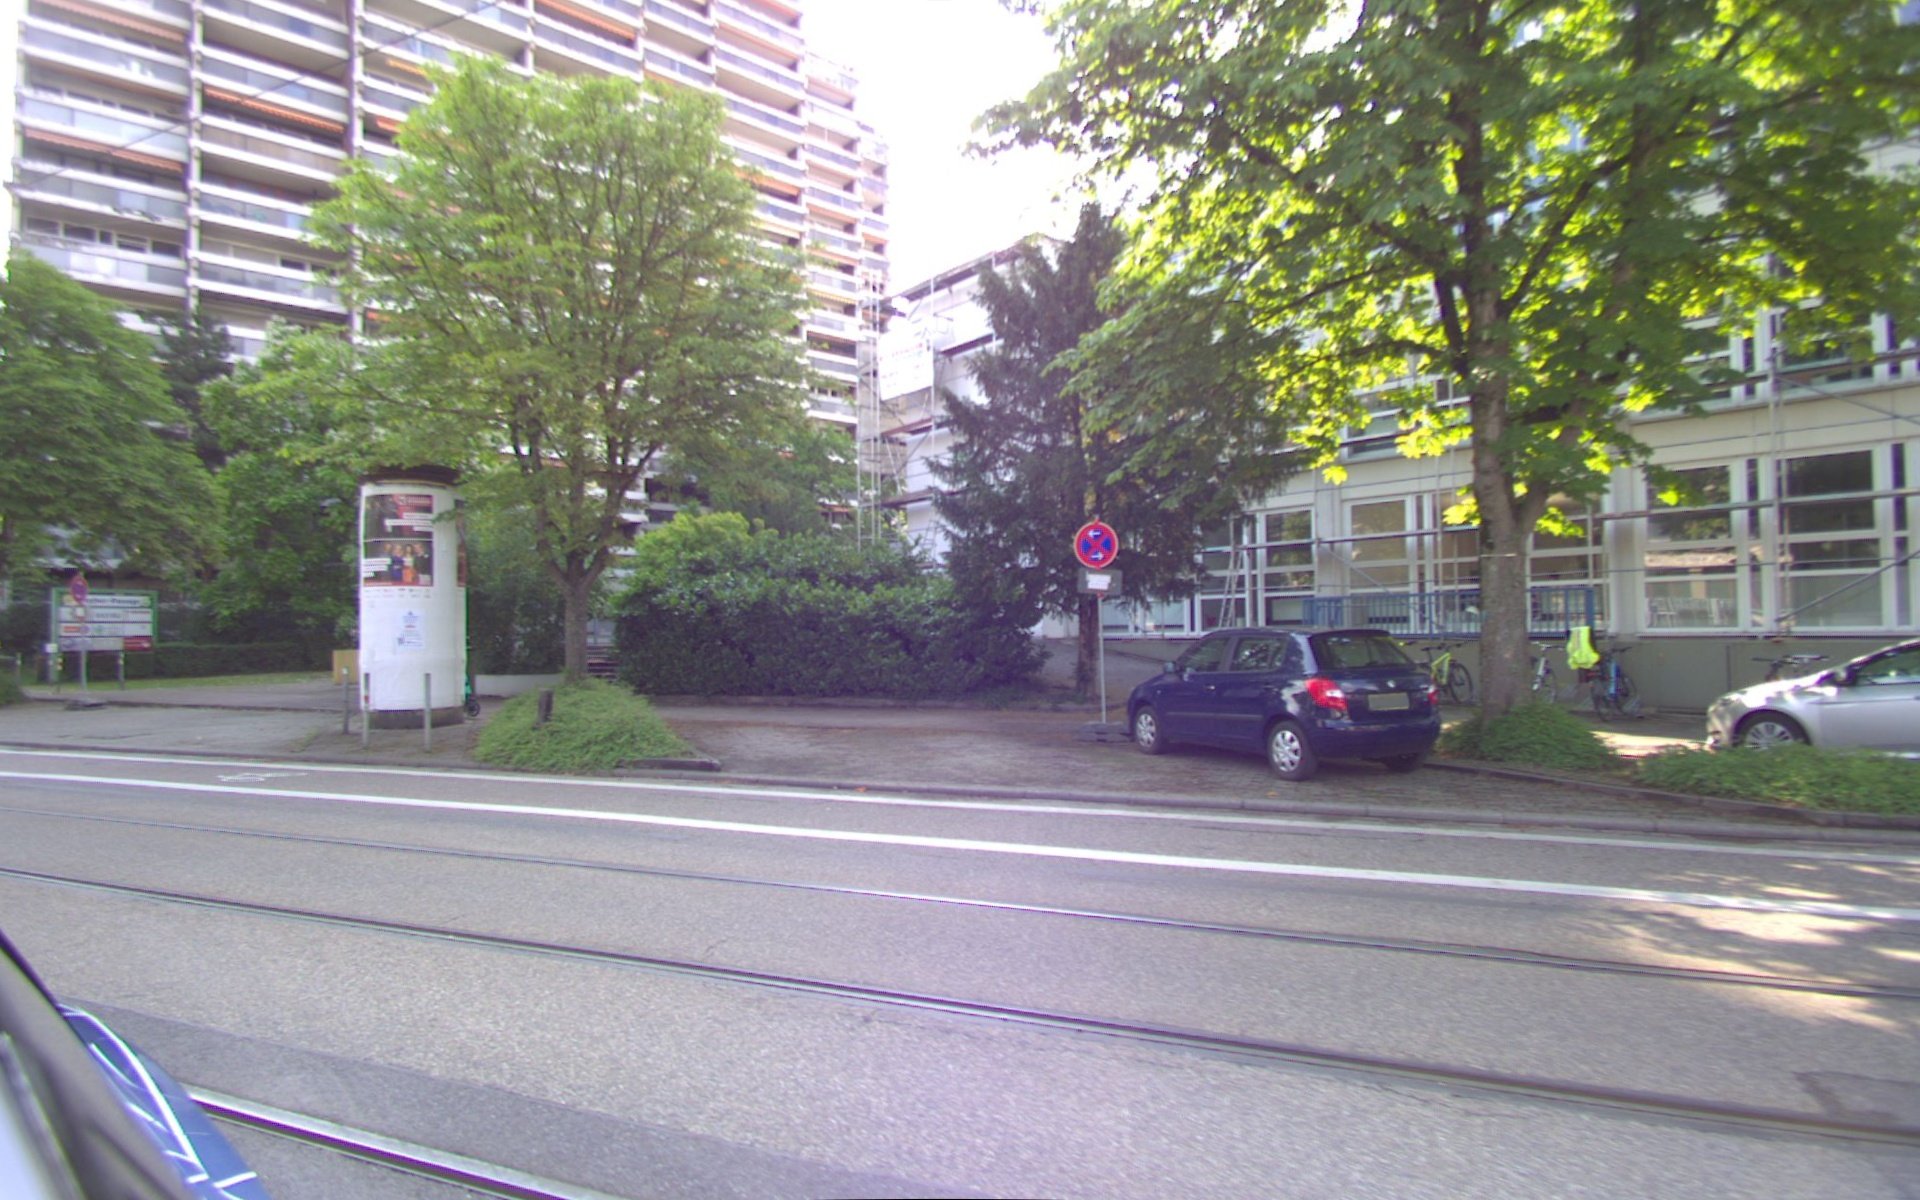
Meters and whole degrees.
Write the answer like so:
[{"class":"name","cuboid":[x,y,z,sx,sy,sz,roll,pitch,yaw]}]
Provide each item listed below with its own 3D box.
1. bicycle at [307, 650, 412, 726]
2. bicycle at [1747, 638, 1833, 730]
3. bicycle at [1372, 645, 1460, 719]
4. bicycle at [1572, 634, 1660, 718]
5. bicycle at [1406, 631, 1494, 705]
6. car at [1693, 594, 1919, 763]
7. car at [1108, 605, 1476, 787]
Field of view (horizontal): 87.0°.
[{"class":"bicycle","cuboid":[-10.478,1.519,17.713,1.482,1.163,0.635,-2,1,-25]},{"class":"bicycle","cuboid":[11.626,1.138,14.152,2.023,1.095,0.498,-2,2,-38]},{"class":"bicycle","cuboid":[7.965,1.394,17.633,2.023,1.095,0.498,-2,2,-38]},{"class":"bicycle","cuboid":[10.103,1.133,15.562,2.023,1.095,0.498,-2,2,-38]},{"class":"bicycle","cuboid":[8.408,1.139,17.327,2.023,1.095,0.498,-2,2,-38]},{"class":"car","cuboid":[9.336,0.704,8.860,1.710,1.437,4.477,-1,1,-24]},{"class":"car","cuboid":[3.374,0.867,11.150,1.729,1.473,4.013,-2,2,-20]}]
